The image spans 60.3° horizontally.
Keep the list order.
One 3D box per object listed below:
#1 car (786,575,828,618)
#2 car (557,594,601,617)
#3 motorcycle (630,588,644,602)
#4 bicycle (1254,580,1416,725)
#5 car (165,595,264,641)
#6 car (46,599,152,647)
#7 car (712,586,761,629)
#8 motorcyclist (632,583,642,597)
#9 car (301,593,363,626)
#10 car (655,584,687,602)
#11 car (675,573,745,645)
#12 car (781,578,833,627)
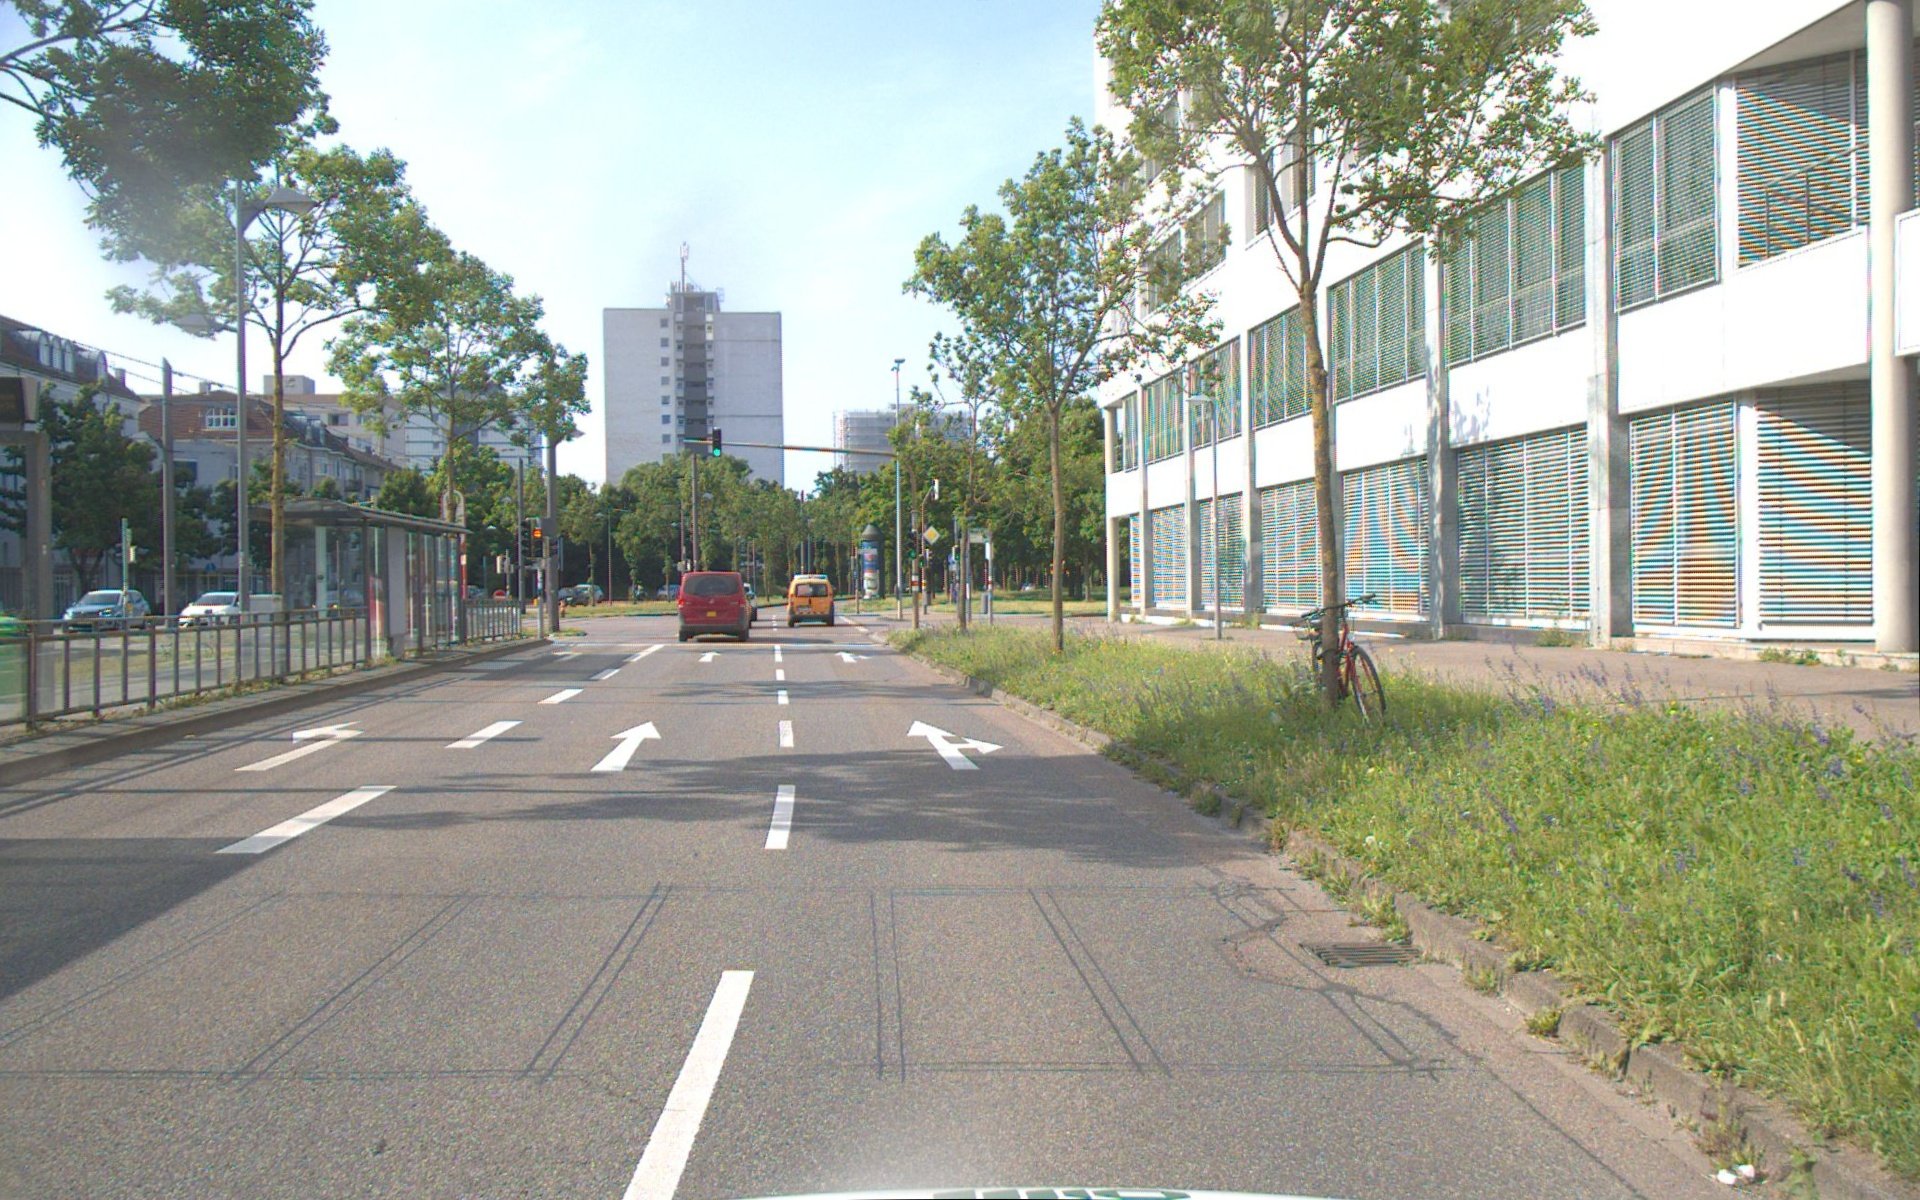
[{"bbox_3d":[-7.593,-0.171,81.667,1.955,2.049,3.994,1,0,-7],"label":"car"},{"bbox_3d":[-27.172,0.408,118.158,1.835,1.601,4.003,1,0,6],"label":"car"},{"bbox_3d":[-26.433,-0.414,135.289,0.624,1.187,1.645,0,0,6],"label":"motorcycle"},{"bbox_3d":[2.867,0.373,12.822,0.606,1.035,1.876,0,0,-8],"label":"bicycle"},{"bbox_3d":[-27.360,0.644,60.817,1.954,1.624,4.047,1,0,-3],"label":"car"},{"bbox_3d":[-30.381,0.777,58.515,1.955,1.624,3.995,1,0,-6],"label":"car"},{"bbox_3d":[-9.536,0.287,70.672,1.956,1.735,3.994,-2,1,-7],"label":"car"},{"bbox_3d":[-26.433,-0.820,135.290,0.606,1.187,0.551,0,0,7],"label":"motorcyclist"},{"bbox_3d":[-32.069,0.462,84.588,1.838,1.601,3.997,0,0,-4],"label":"car"},{"bbox_3d":[-26.475,-0.634,151.656,1.835,1.601,4.003,0,0,6],"label":"car"},{"bbox_3d":[-6.908,0.226,45.969,1.839,1.886,3.993,0,0,-8],"label":"car"},{"bbox_3d":[-5.647,0.087,60.923,1.839,1.726,3.968,0,0,-6],"label":"car"}]
